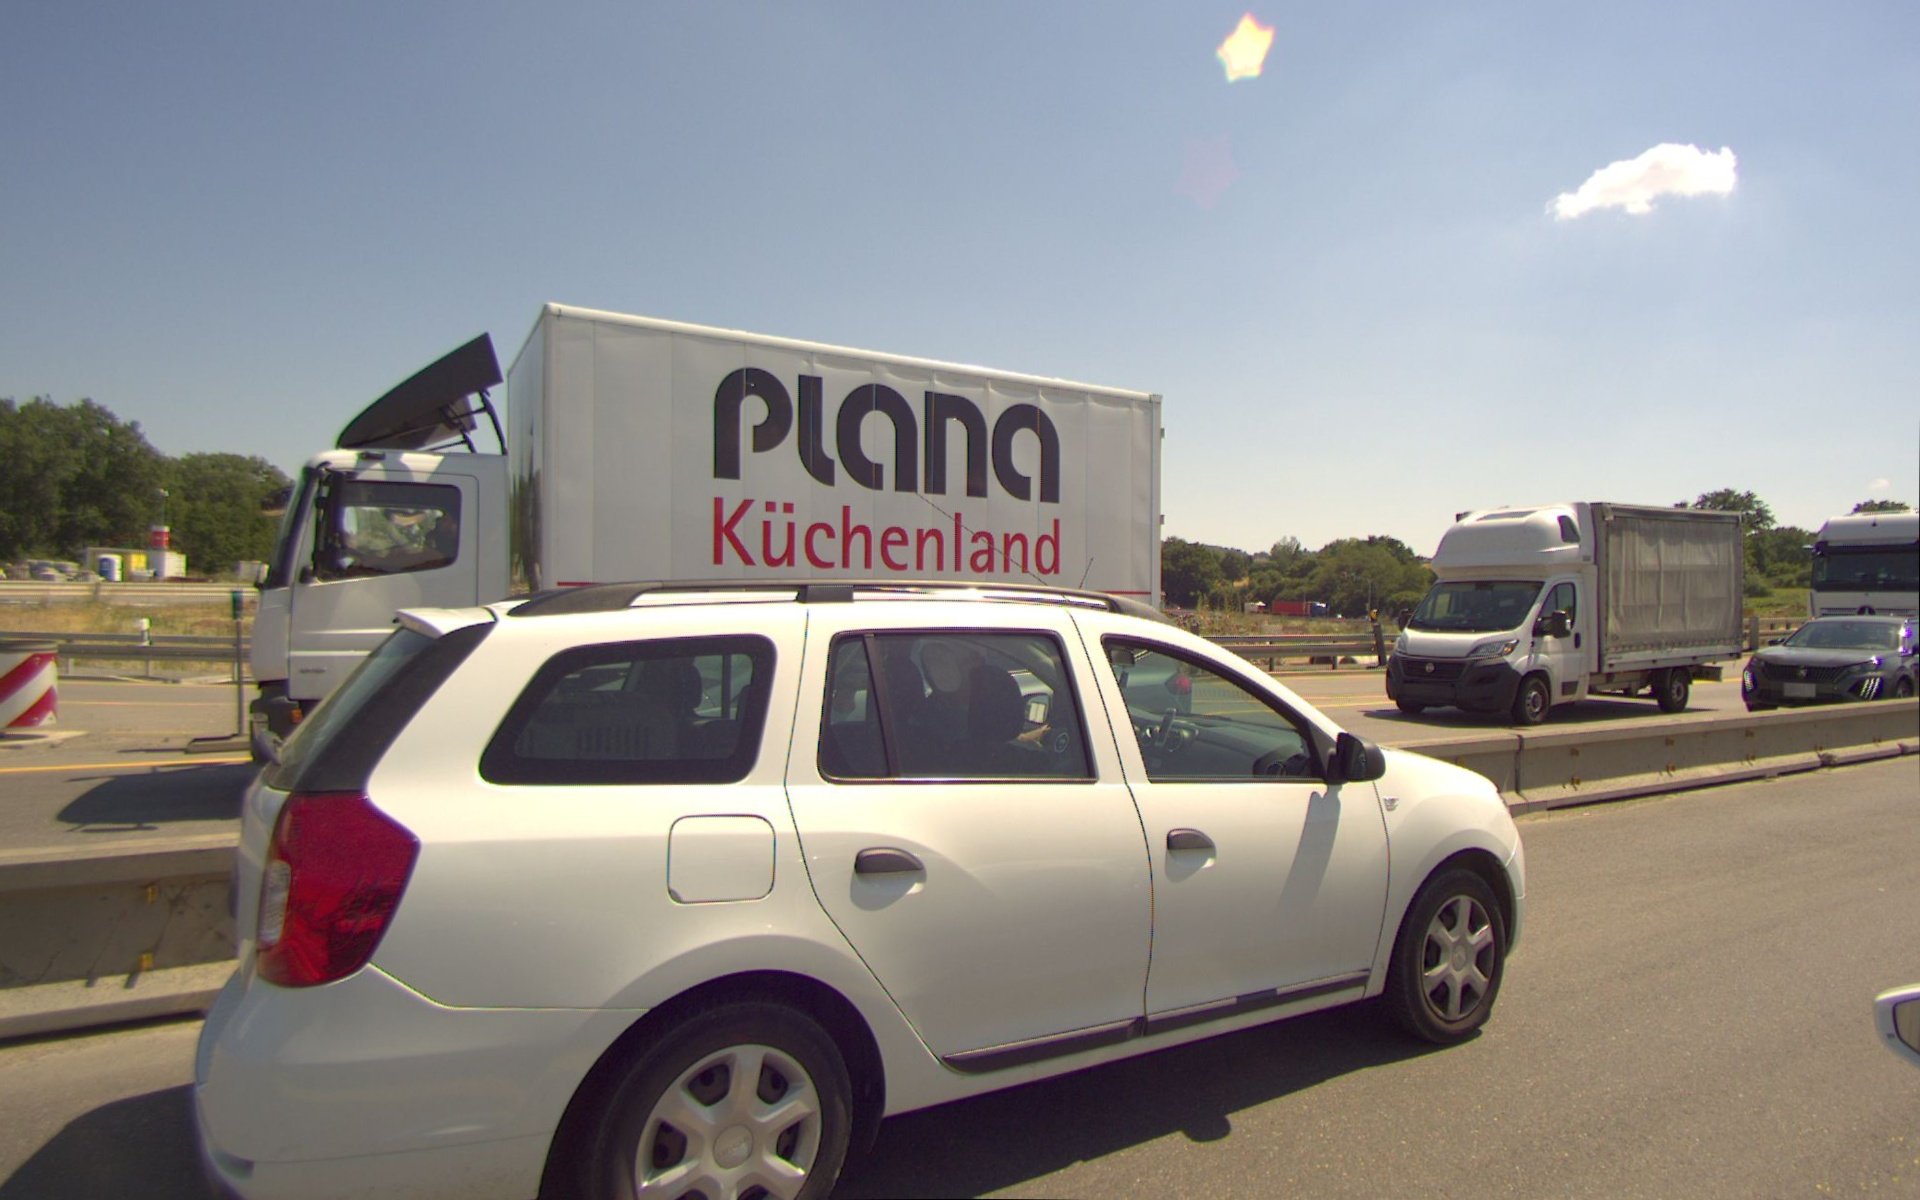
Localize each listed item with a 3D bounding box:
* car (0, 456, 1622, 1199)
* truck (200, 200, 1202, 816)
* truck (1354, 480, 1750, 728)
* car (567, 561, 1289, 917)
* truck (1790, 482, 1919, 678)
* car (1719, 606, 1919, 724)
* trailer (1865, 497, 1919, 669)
[{"bbox_3d":[0.083,0.656,3.486,4.651,1.550,1.810,3,-1,-30],"label":"car"},{"bbox_3d":[-1.735,-0.489,9.674,8.571,3.907,2.512,2,0,-31],"label":"truck"},{"bbox_3d":[9.473,0.096,15.812,6.944,3.190,2.421,1,0,-32],"label":"truck"},{"bbox_3d":[-0.107,0.706,6.773,4.493,1.673,1.818,2,3,-30],"label":"car"},{"bbox_3d":[23.302,-0.399,24.468,6.448,4.287,2.540,1,0,-28],"label":"truck"},{"bbox_3d":[13.679,0.932,15.277,4.493,1.555,1.819,1,-3,-30],"label":"car"},{"bbox_3d":[29.472,-0.297,28.024,12.319,4.314,2.583,1,0,-30],"label":"trailer"}]
